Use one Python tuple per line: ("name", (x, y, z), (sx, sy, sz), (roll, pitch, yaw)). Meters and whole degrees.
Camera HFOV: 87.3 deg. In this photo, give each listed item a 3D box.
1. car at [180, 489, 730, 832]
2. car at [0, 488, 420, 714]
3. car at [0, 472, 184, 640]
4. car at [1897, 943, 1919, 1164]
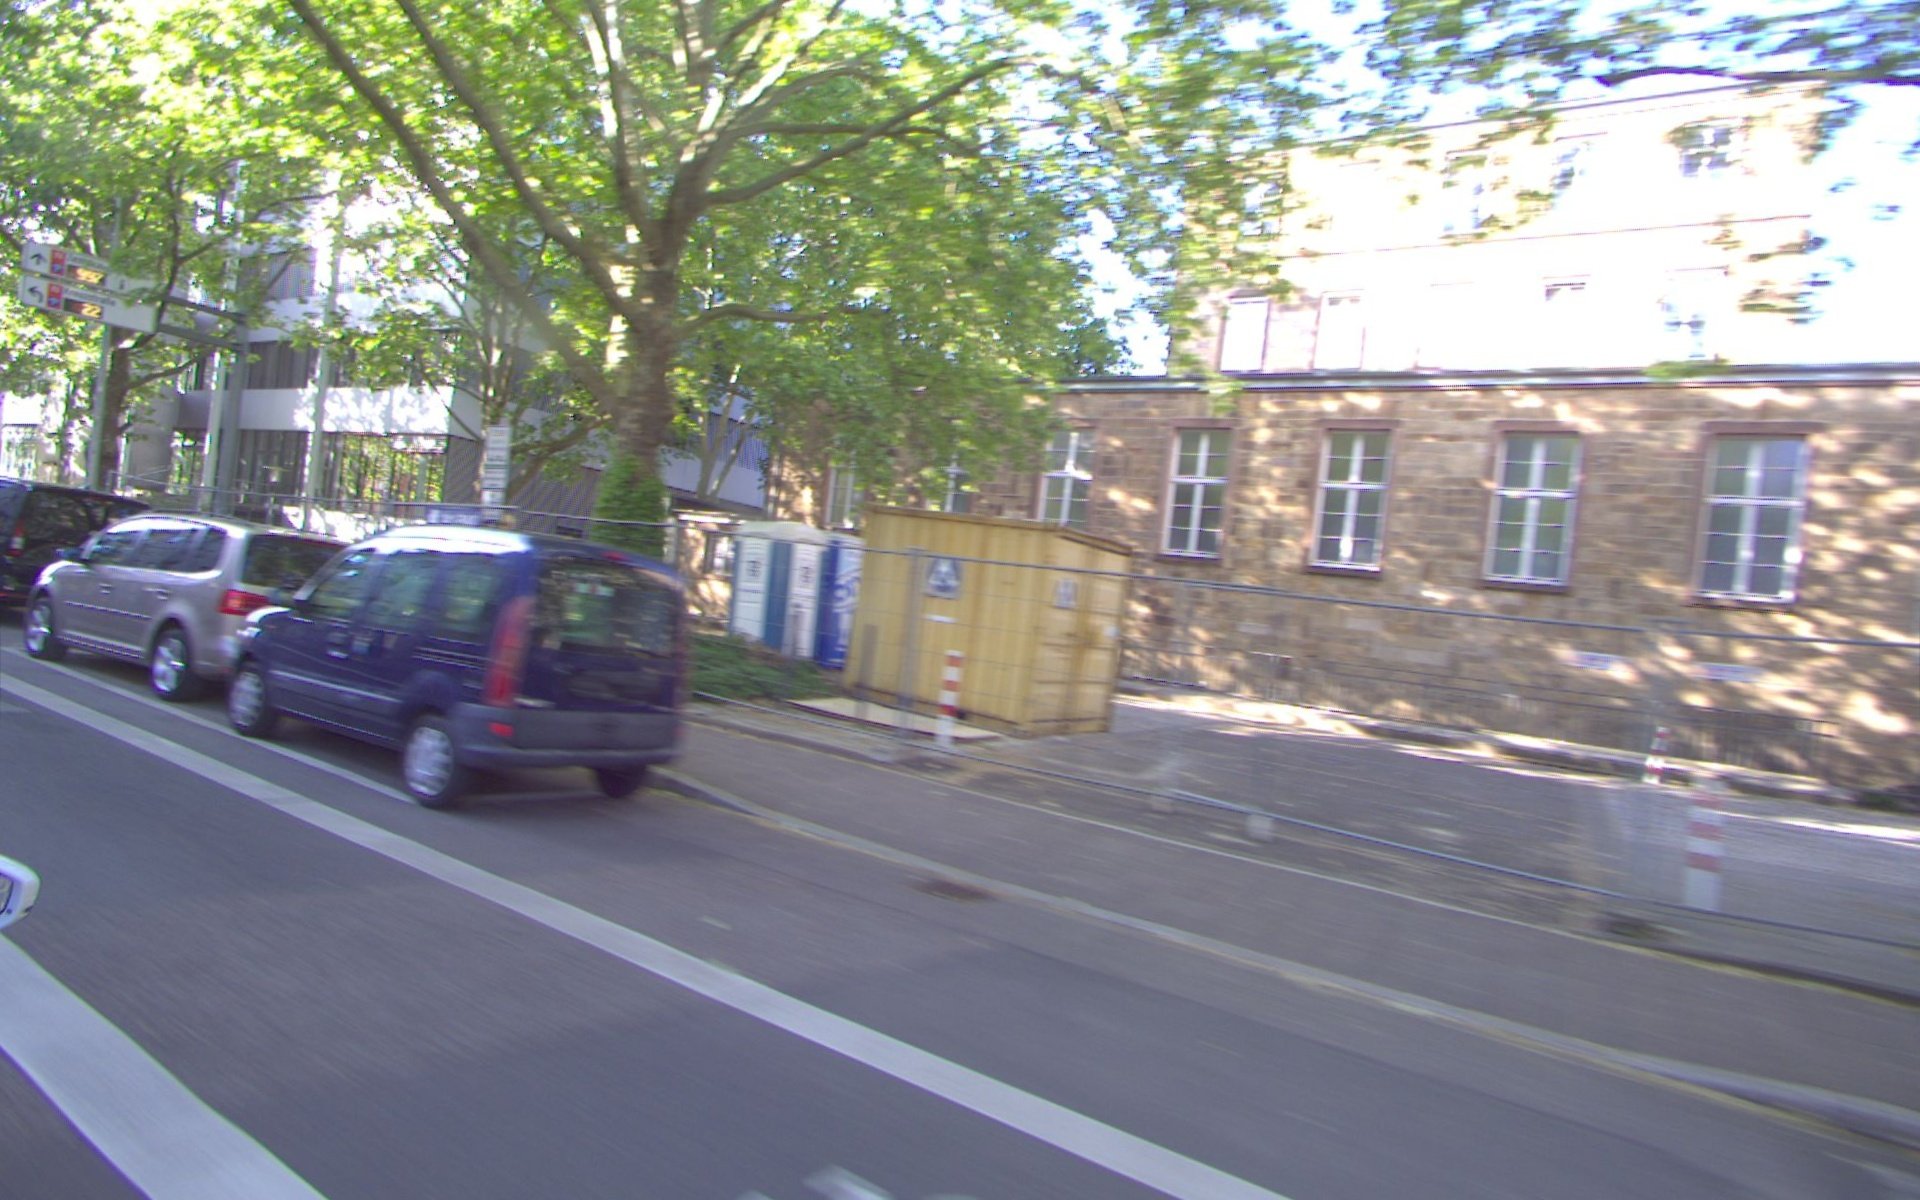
("car", (-3.910, 0.324, 7.595), (4.062, 1.833, 1.696), (7, -3, 33))
("car", (-7.612, -0.024, 10.078), (4.256, 1.646, 1.698), (7, -3, 29))
("car", (-13.137, -0.749, 13.649), (4.810, 1.861, 1.832), (7, -2, 23))
("car", (5.657, 1.348, 1.954), (5.083, 2.016, 2.084), (7, -2, 29))
